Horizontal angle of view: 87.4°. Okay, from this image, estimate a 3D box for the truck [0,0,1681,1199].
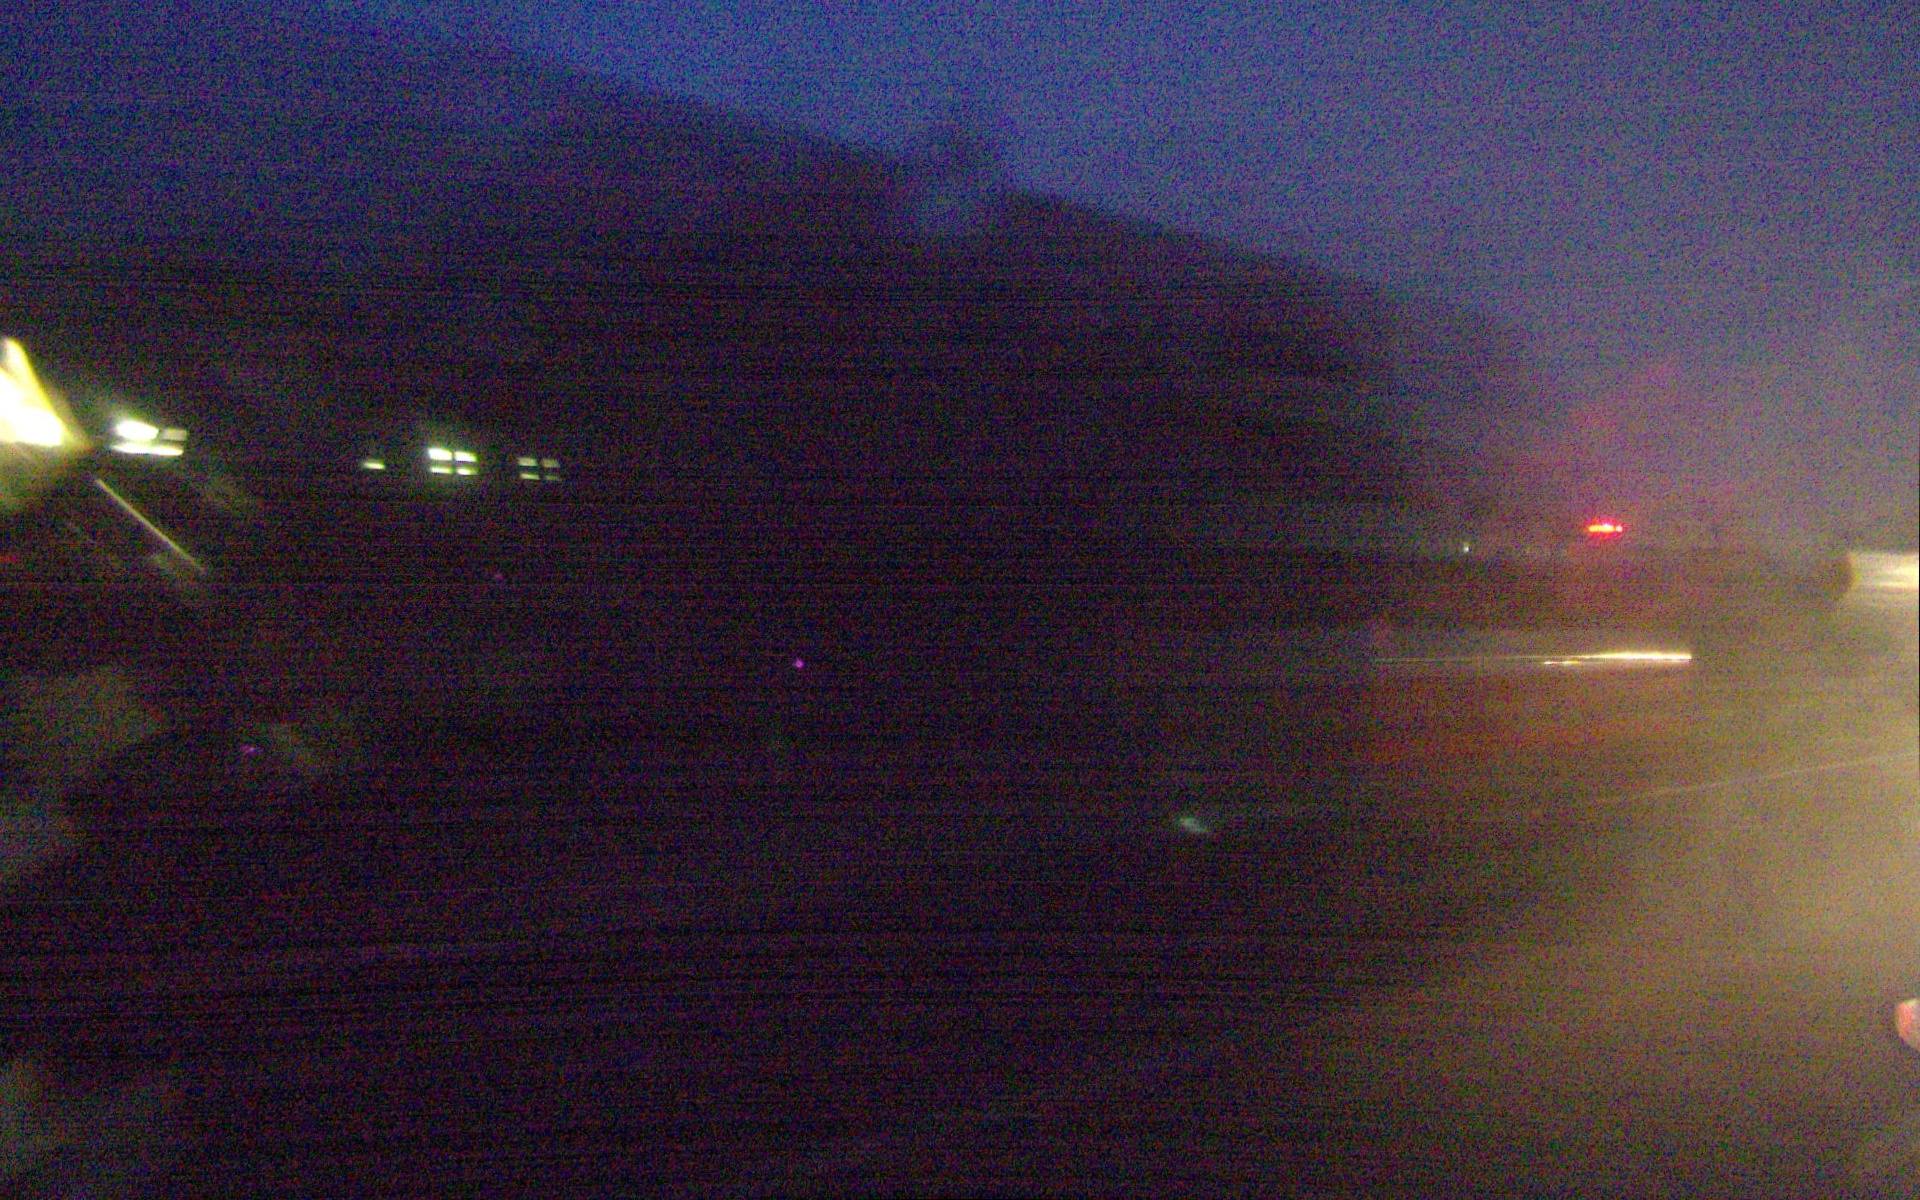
[{"bbox_3d":[-0.373,0.188,2.855,5.221,2.569,2.125,1,0,-32],"label":"truck"}]
